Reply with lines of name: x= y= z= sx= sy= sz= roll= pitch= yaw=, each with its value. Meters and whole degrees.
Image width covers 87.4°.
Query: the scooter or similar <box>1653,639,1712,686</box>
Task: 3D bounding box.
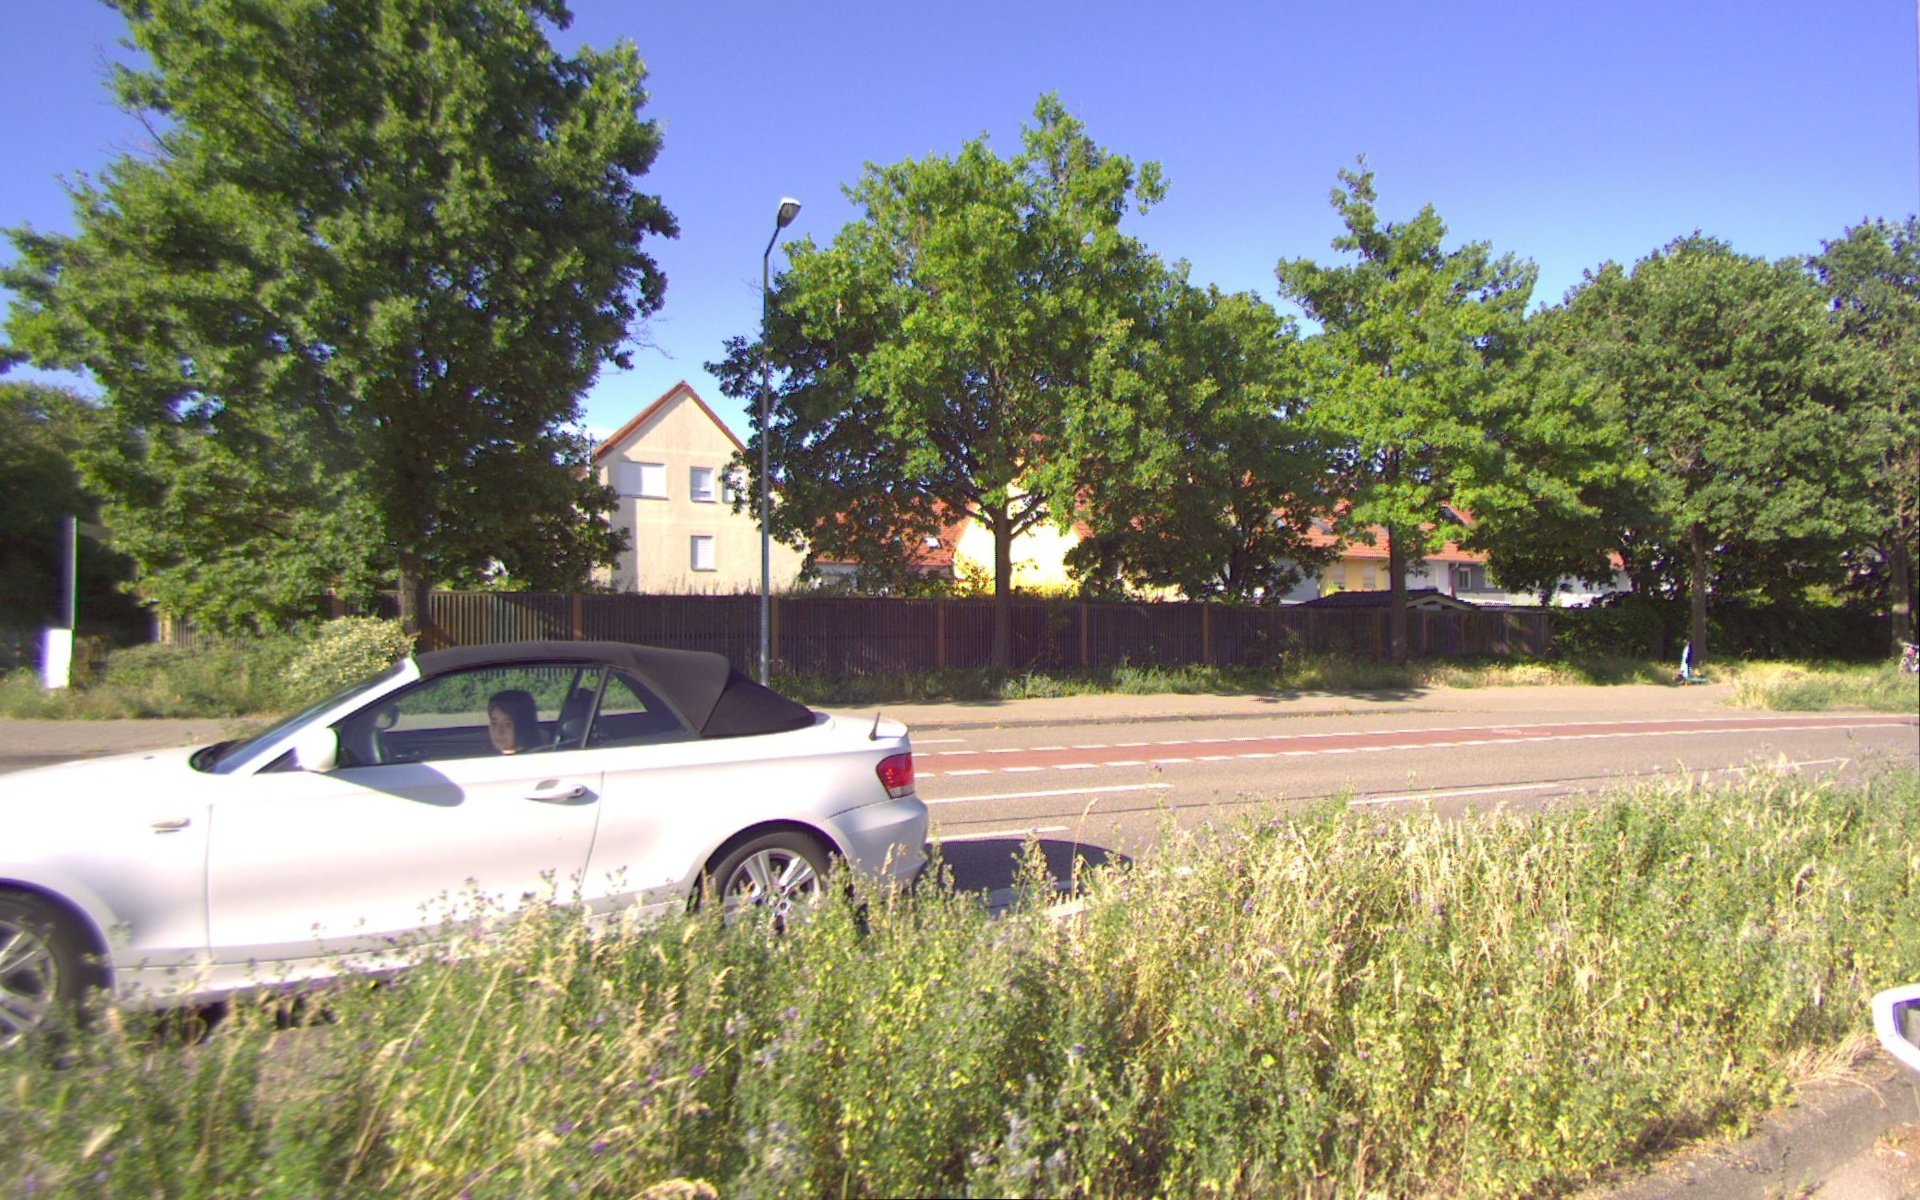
scooter or similar: x=20.121 y=1.732 z=27.969 sx=1.389 sy=1.235 sz=0.539 roll=0 pitch=1 yaw=-13

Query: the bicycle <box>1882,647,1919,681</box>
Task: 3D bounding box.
bicycle: x=30.610 y=2.076 z=32.552 sx=1.857 sy=1.067 sz=0.503 roll=1 pitch=-1 yaw=-29

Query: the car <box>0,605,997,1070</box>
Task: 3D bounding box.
car: x=-2.192 y=0.798 z=4.711 sx=4.341 sy=1.469 sz=1.987 roll=1 pitch=-2 yaw=-26
